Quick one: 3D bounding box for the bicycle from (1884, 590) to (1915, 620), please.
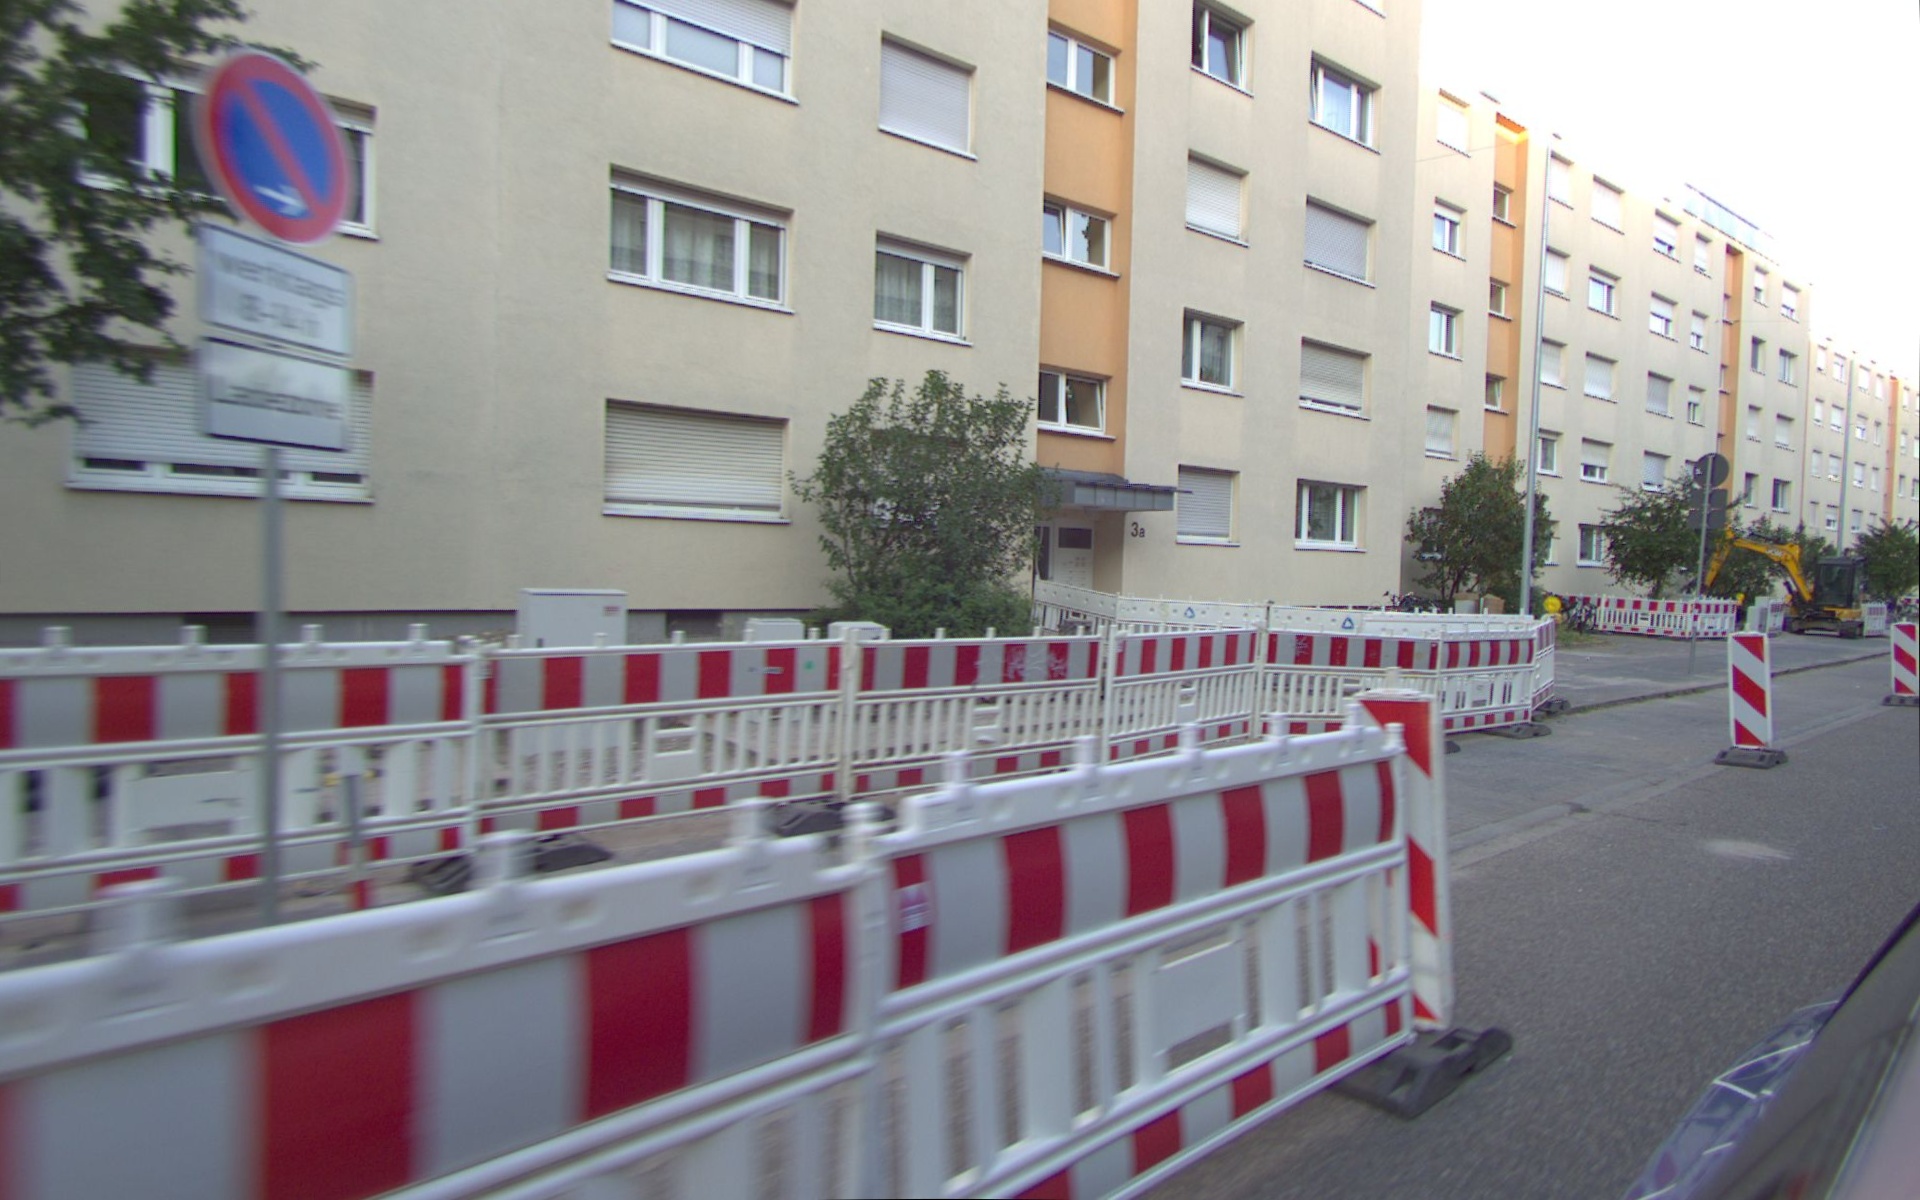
[{"bbox_3d":[38.545,0.200,41.527,0.624,1.186,1.794,2,2,34],"label":"bicycle"}]

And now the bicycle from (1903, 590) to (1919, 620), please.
[{"bbox_3d":[39.247,0.205,41.431,0.553,1.186,1.797,2,2,31],"label":"bicycle"}]

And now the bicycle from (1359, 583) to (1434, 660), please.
[{"bbox_3d":[7.332,0.338,16.972,1.794,1.237,0.398,0,2,-41],"label":"bicycle"}]

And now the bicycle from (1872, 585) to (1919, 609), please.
[{"bbox_3d":[47.559,-0.176,51.331,0.546,0.998,1.763,0,7,-29],"label":"bicycle"}]

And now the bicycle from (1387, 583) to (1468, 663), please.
[{"bbox_3d":[7.675,0.349,16.572,1.878,1.237,0.452,0,2,-41],"label":"bicycle"}]

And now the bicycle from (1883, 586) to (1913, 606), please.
[{"bbox_3d":[49.609,-0.200,53.525,0.552,0.874,1.603,6,7,23],"label":"bicycle"}]

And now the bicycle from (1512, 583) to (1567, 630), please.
[{"bbox_3d":[15.128,0.148,26.396,1.783,1.186,0.558,0,2,-37],"label":"bicycle"}]

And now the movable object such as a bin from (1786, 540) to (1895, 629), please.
[{"bbox_3d":[28.430,-0.516,32.669,2.836,2.726,1.941,0,2,-34],"label":"movable object such as a bin"}]

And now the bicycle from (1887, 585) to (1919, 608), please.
[{"bbox_3d":[49.107,-0.149,52.119,0.547,1.034,1.818,-1,8,-37],"label":"bicycle"}]

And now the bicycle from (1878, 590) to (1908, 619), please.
[{"bbox_3d":[39.795,0.168,43.160,1.783,1.186,0.558,0,2,-37],"label":"bicycle"}]

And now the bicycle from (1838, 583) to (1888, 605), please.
[{"bbox_3d":[47.361,-0.317,53.094,1.788,0.931,0.557,5,6,11],"label":"bicycle"}]

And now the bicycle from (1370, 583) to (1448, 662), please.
[{"bbox_3d":[7.436,0.344,16.732,1.878,1.237,0.398,0,2,-41],"label":"bicycle"}]

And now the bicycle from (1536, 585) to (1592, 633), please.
[{"bbox_3d":[15.460,0.219,25.893,1.783,1.186,0.558,0,2,-37],"label":"bicycle"}]

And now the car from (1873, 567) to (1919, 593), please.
[{"bbox_3d":[79.342,-1.635,83.852,2.244,2.156,5.043,0,2,-31],"label":"car"}]

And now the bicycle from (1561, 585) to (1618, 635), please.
[{"bbox_3d":[15.607,0.237,25.072,1.783,1.186,0.558,0,2,-37],"label":"bicycle"}]
